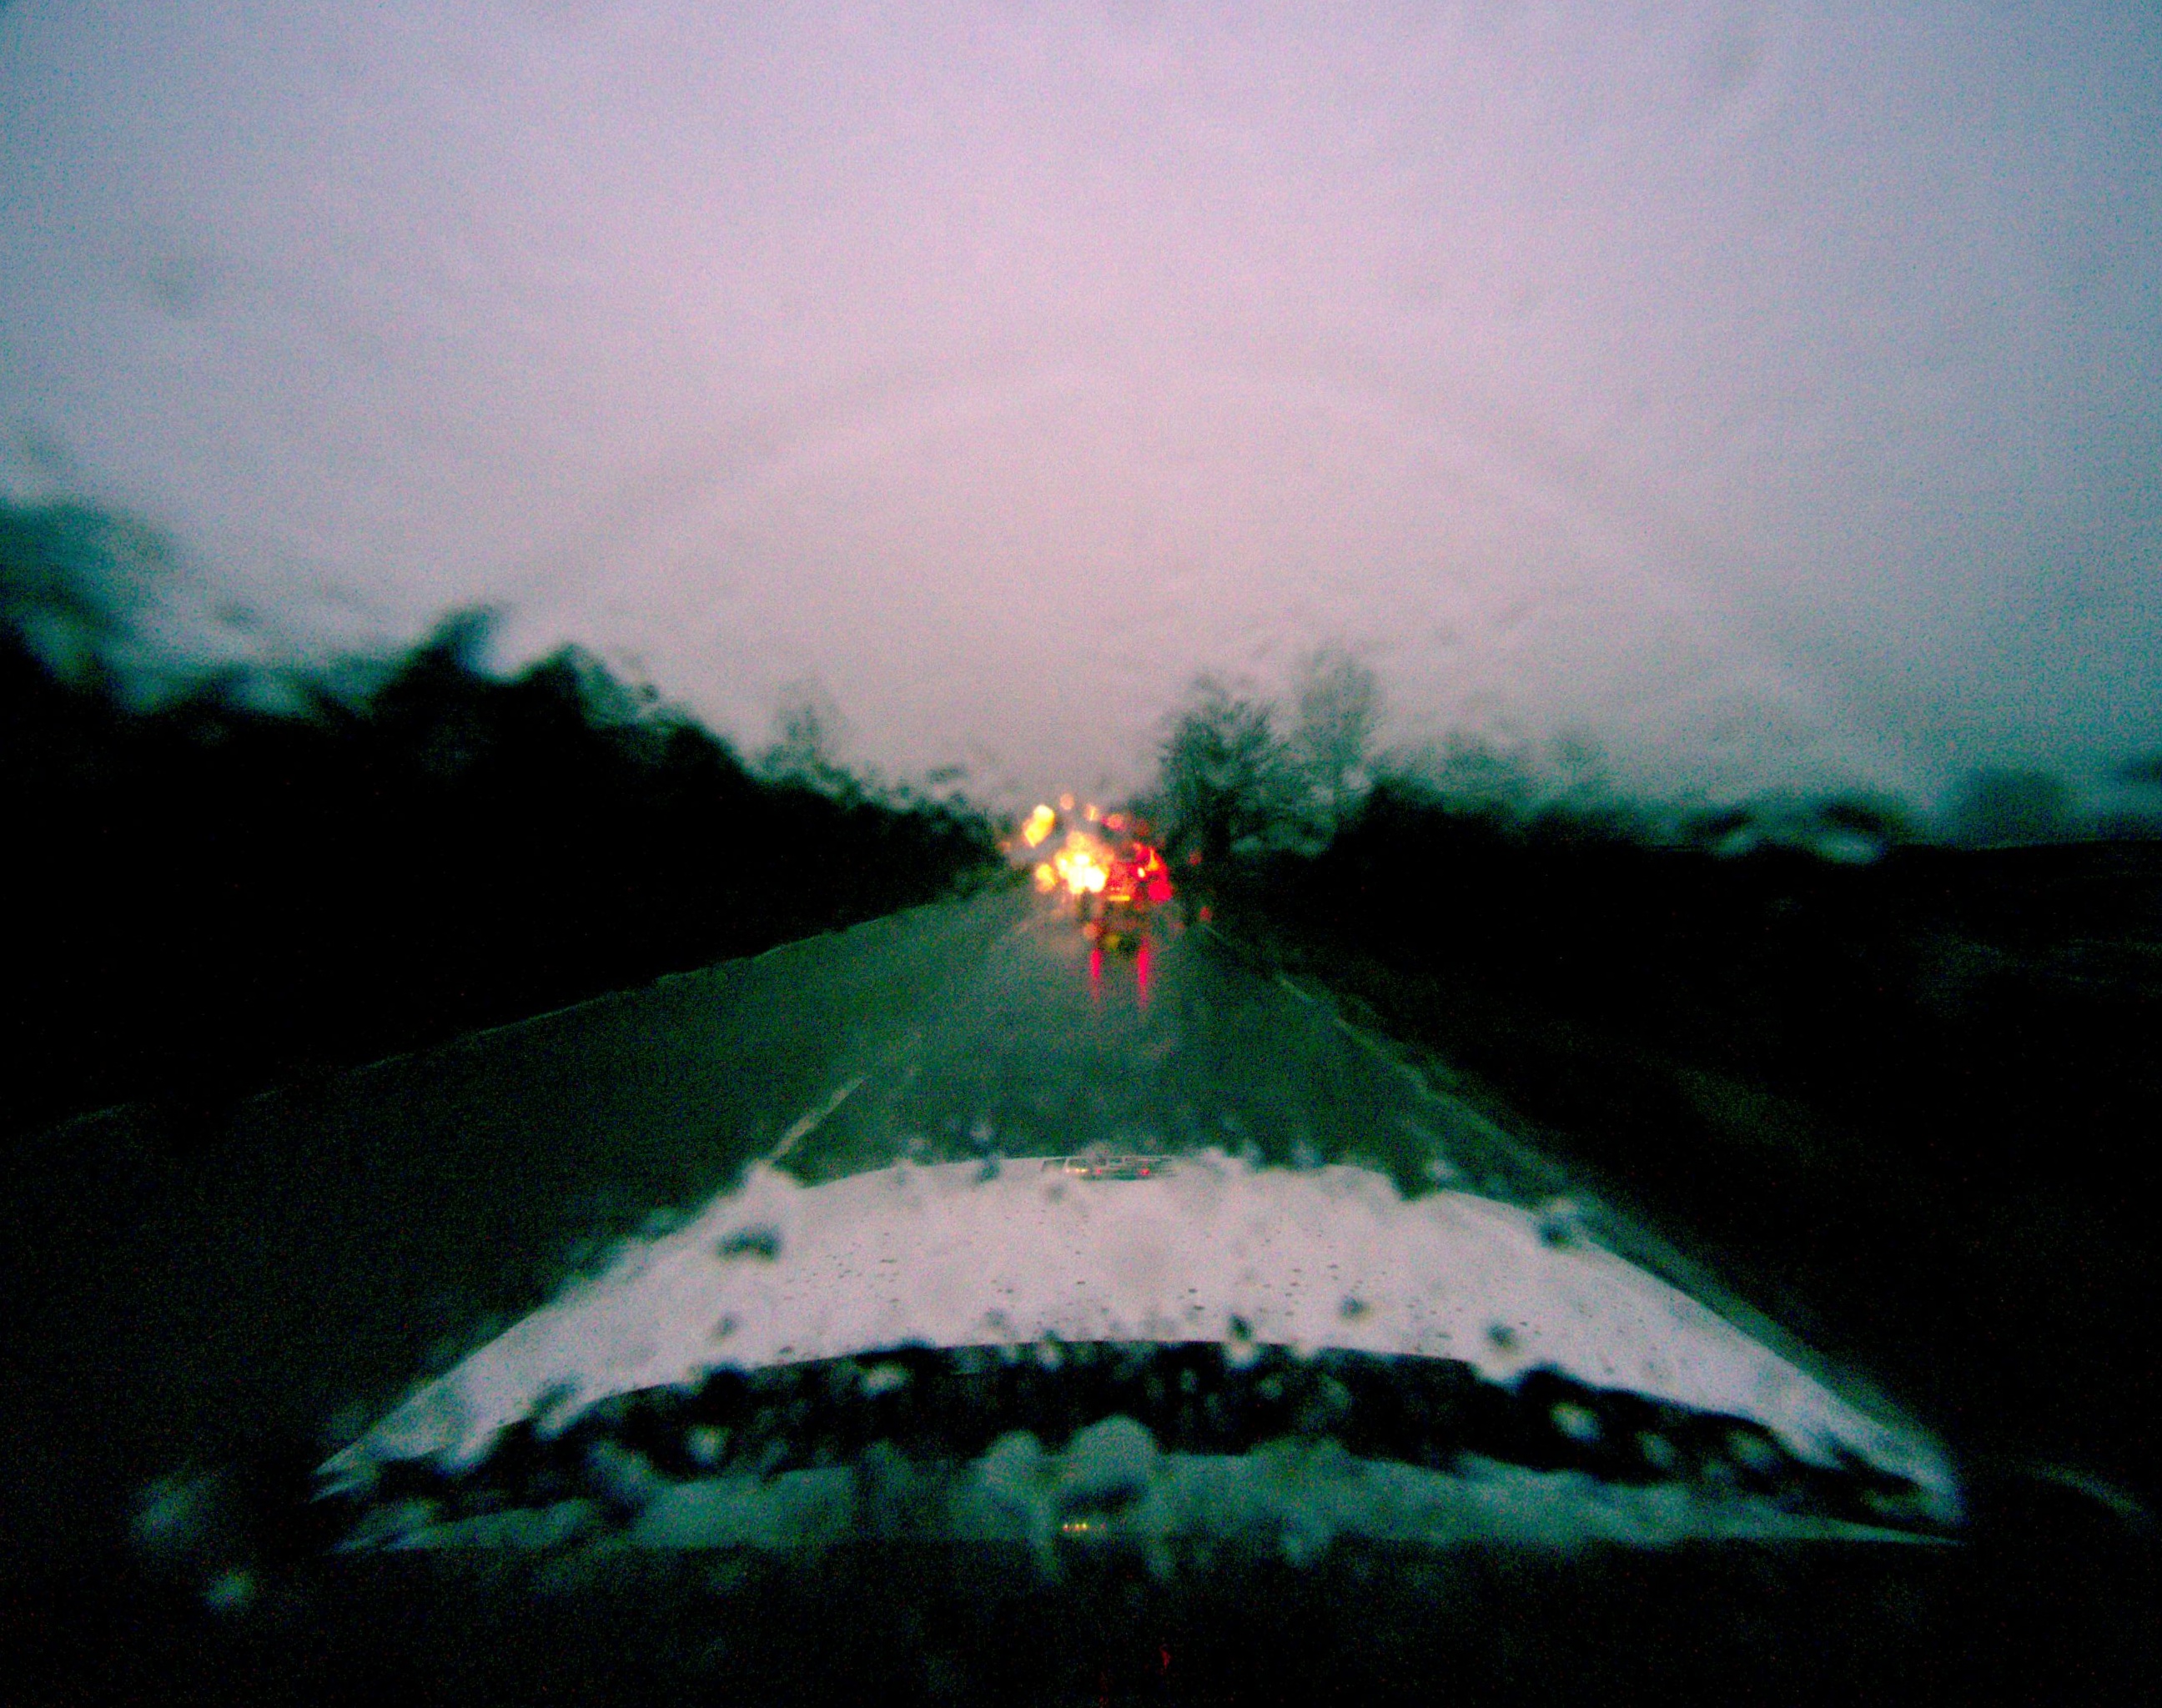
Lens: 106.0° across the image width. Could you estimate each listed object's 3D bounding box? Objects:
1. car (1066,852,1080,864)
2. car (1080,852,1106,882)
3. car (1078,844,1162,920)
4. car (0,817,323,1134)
[{"bbox_3d":[-1.050,0.503,105.677,1.685,1.530,4.086,0,0,1],"label":"car"},{"bbox_3d":[0.809,0.814,52.656,1.568,1.875,3.711,0,0,2],"label":"car"},{"bbox_3d":[1.002,0.677,21.389,1.986,1.785,4.002,0,0,2],"label":"car"},{"bbox_3d":[-7.091,0.685,4.480,1.986,1.785,4.002,0,0,2],"label":"car"}]
